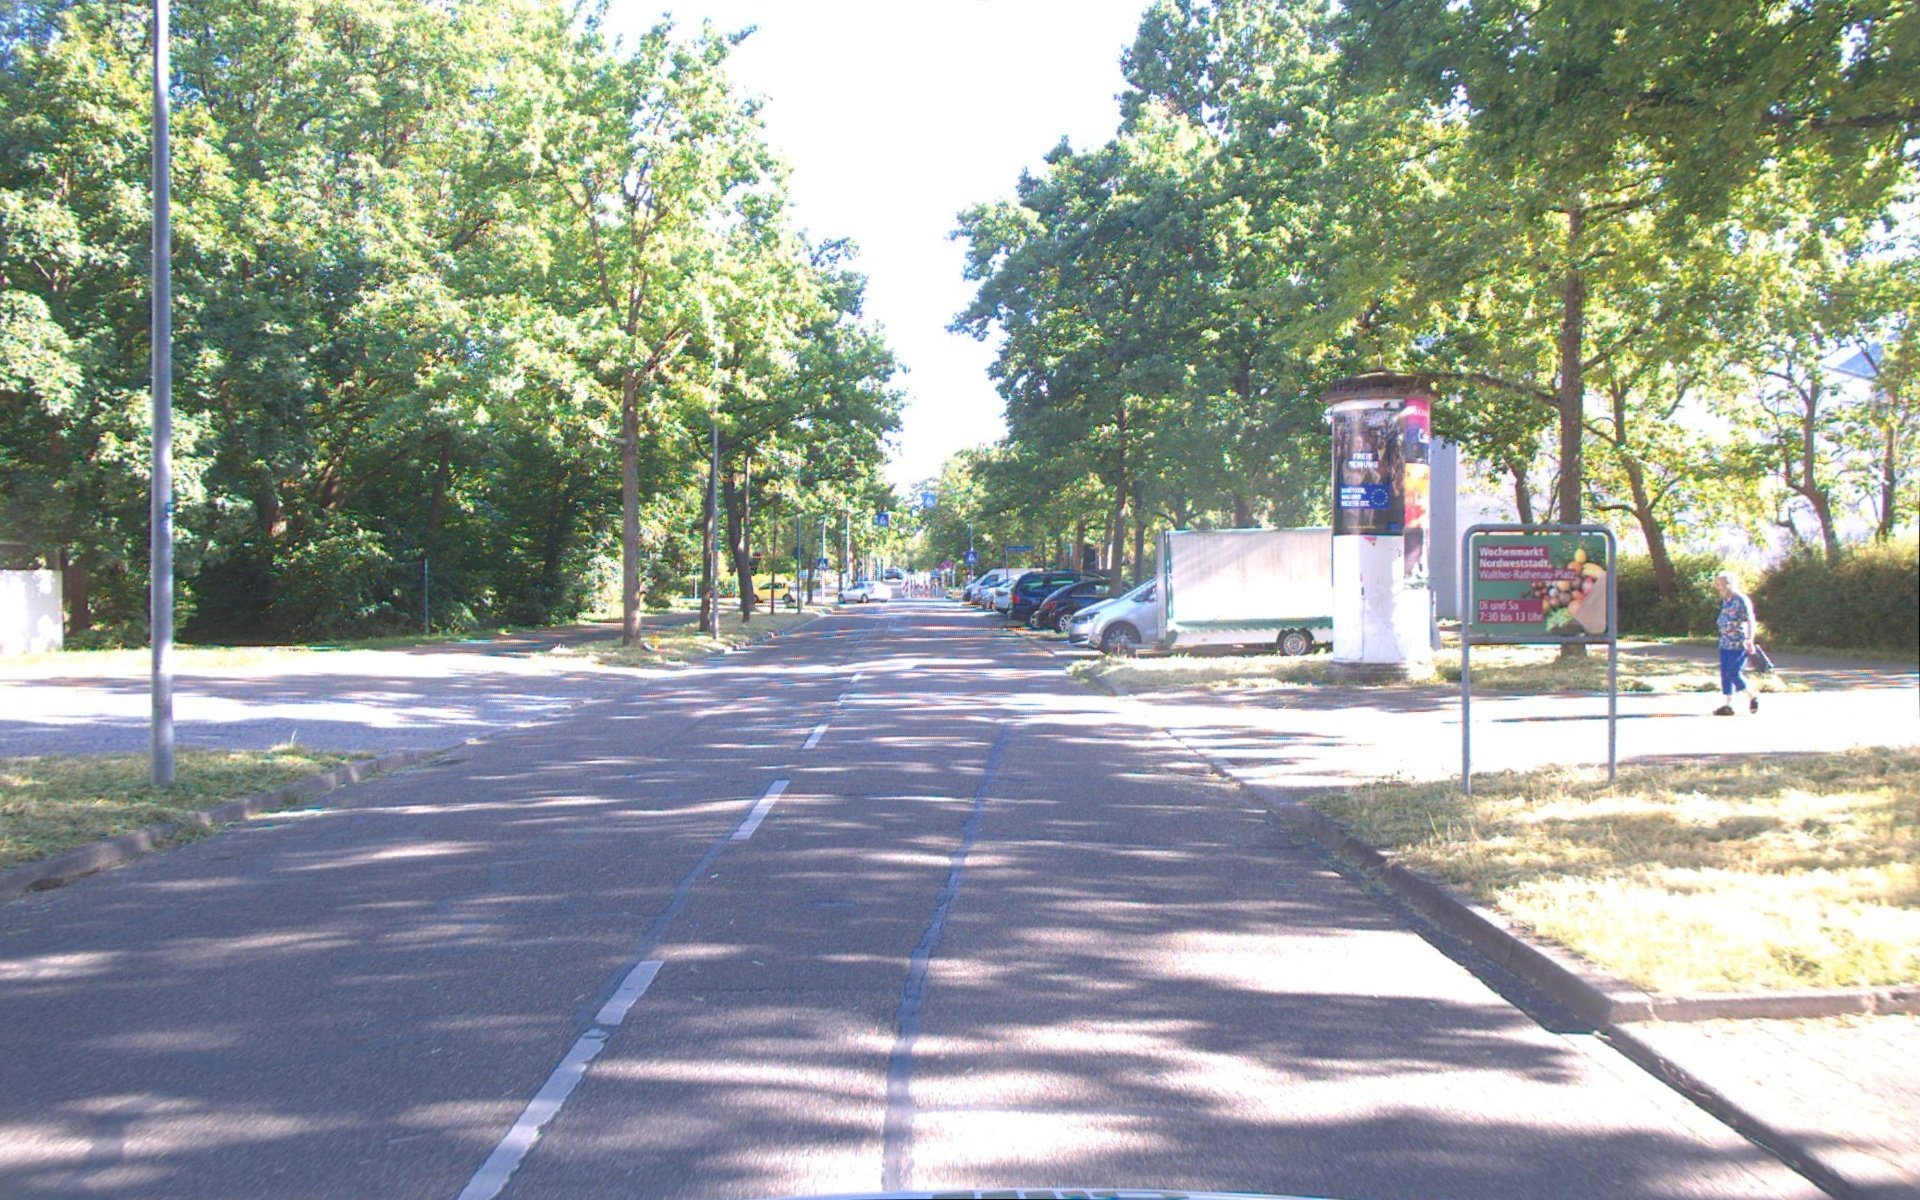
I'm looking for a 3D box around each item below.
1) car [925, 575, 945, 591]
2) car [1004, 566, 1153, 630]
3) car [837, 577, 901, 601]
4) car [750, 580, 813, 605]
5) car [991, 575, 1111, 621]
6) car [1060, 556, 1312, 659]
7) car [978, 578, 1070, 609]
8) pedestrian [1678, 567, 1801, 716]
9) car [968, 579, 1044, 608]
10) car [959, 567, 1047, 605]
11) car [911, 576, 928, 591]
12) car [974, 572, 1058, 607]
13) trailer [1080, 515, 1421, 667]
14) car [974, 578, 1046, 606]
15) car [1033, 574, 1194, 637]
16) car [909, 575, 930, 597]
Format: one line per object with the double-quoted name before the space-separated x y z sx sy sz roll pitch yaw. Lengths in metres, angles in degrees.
"car" -2.664 -1.809 175.543 1.953 1.746 3.999 0 1 -2
"car" 3.654 -0.069 51.546 4.438 1.832 1.936 -2 1 -2
"car" -6.010 -0.734 108.943 3.923 1.510 1.991 0 0 38
"car" -12.225 -0.543 113.420 3.902 1.684 2.002 0 0 12
"car" 3.588 -0.096 65.779 4.576 1.608 1.916 -2 1 -1
"car" 4.314 0.134 32.031 4.548 1.752 1.987 -2 1 -1
"car" 3.119 -0.323 81.021 4.355 1.414 1.910 -1 1 -2
"pedestrian" 8.385 0.426 17.804 0.935 1.526 0.872 -2 1 -40
"car" 2.547 -0.354 93.054 4.129 1.596 1.932 0 1 -3
"car" 2.567 -0.846 98.921 5.084 2.142 2.081 -1 0 -3
"car" -4.672 -1.953 191.239 1.953 1.746 3.999 0 1 -2
"car" 2.996 -0.571 88.623 4.297 1.680 1.850 -2 1 -4
"trailer" 5.052 -0.168 29.255 5.656 2.358 1.686 -2 1 0
"car" 2.732 -0.443 91.022 3.905 1.458 1.901 -1 1 0
"car" 4.129 0.122 44.954 4.159 1.545 2.078 -2 1 0
"car" -3.772 -1.330 154.603 1.953 1.966 3.999 0 1 -2
